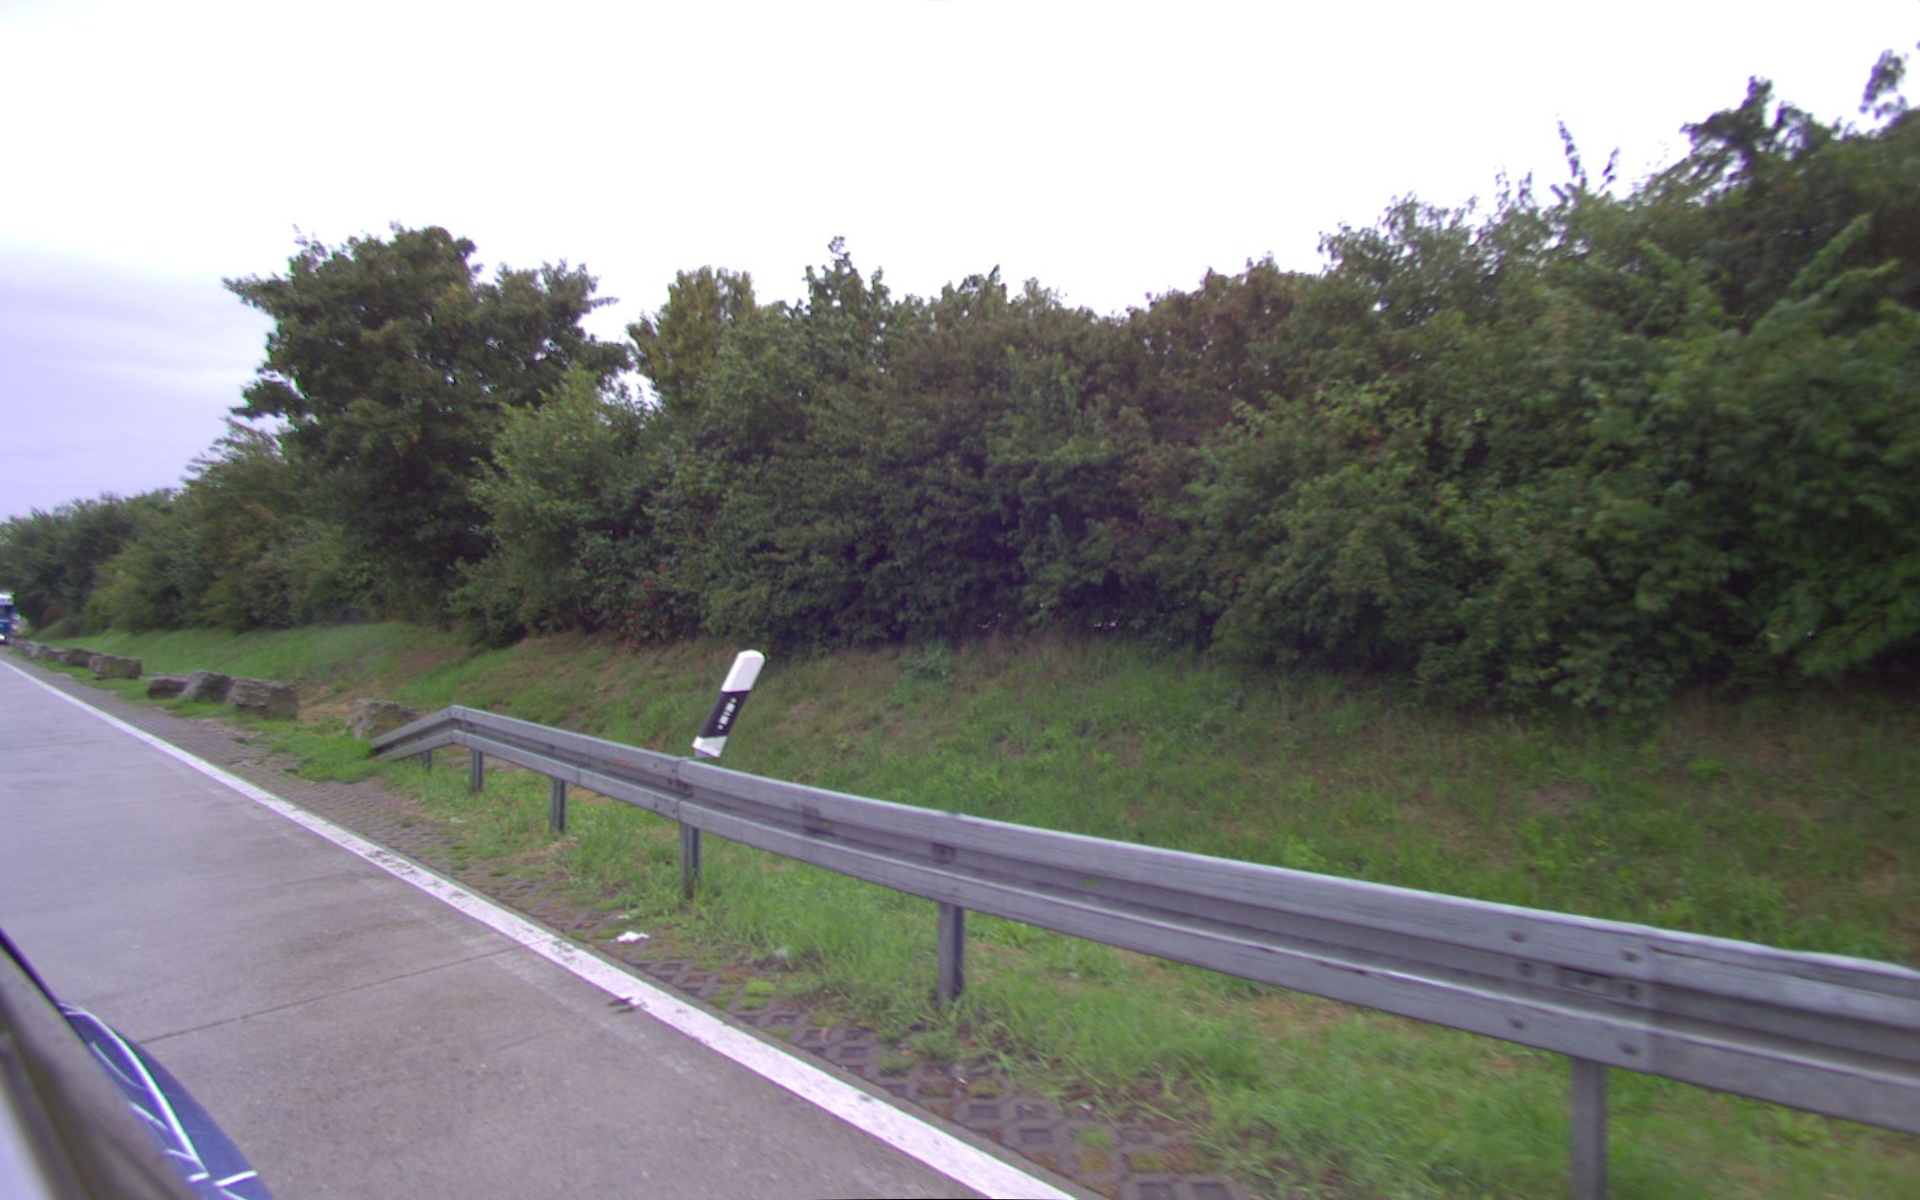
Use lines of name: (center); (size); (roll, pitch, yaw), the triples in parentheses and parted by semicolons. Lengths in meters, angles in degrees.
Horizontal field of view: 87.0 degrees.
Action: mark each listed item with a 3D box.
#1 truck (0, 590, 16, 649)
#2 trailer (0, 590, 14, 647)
truck: (-74.367, 1.468, 77.061); (6.316, 4.420, 3.199); (-1, -3, 44)
trailer: (-79.021, 1.516, 81.681); (13.771, 4.420, 3.199); (-1, -3, 44)
